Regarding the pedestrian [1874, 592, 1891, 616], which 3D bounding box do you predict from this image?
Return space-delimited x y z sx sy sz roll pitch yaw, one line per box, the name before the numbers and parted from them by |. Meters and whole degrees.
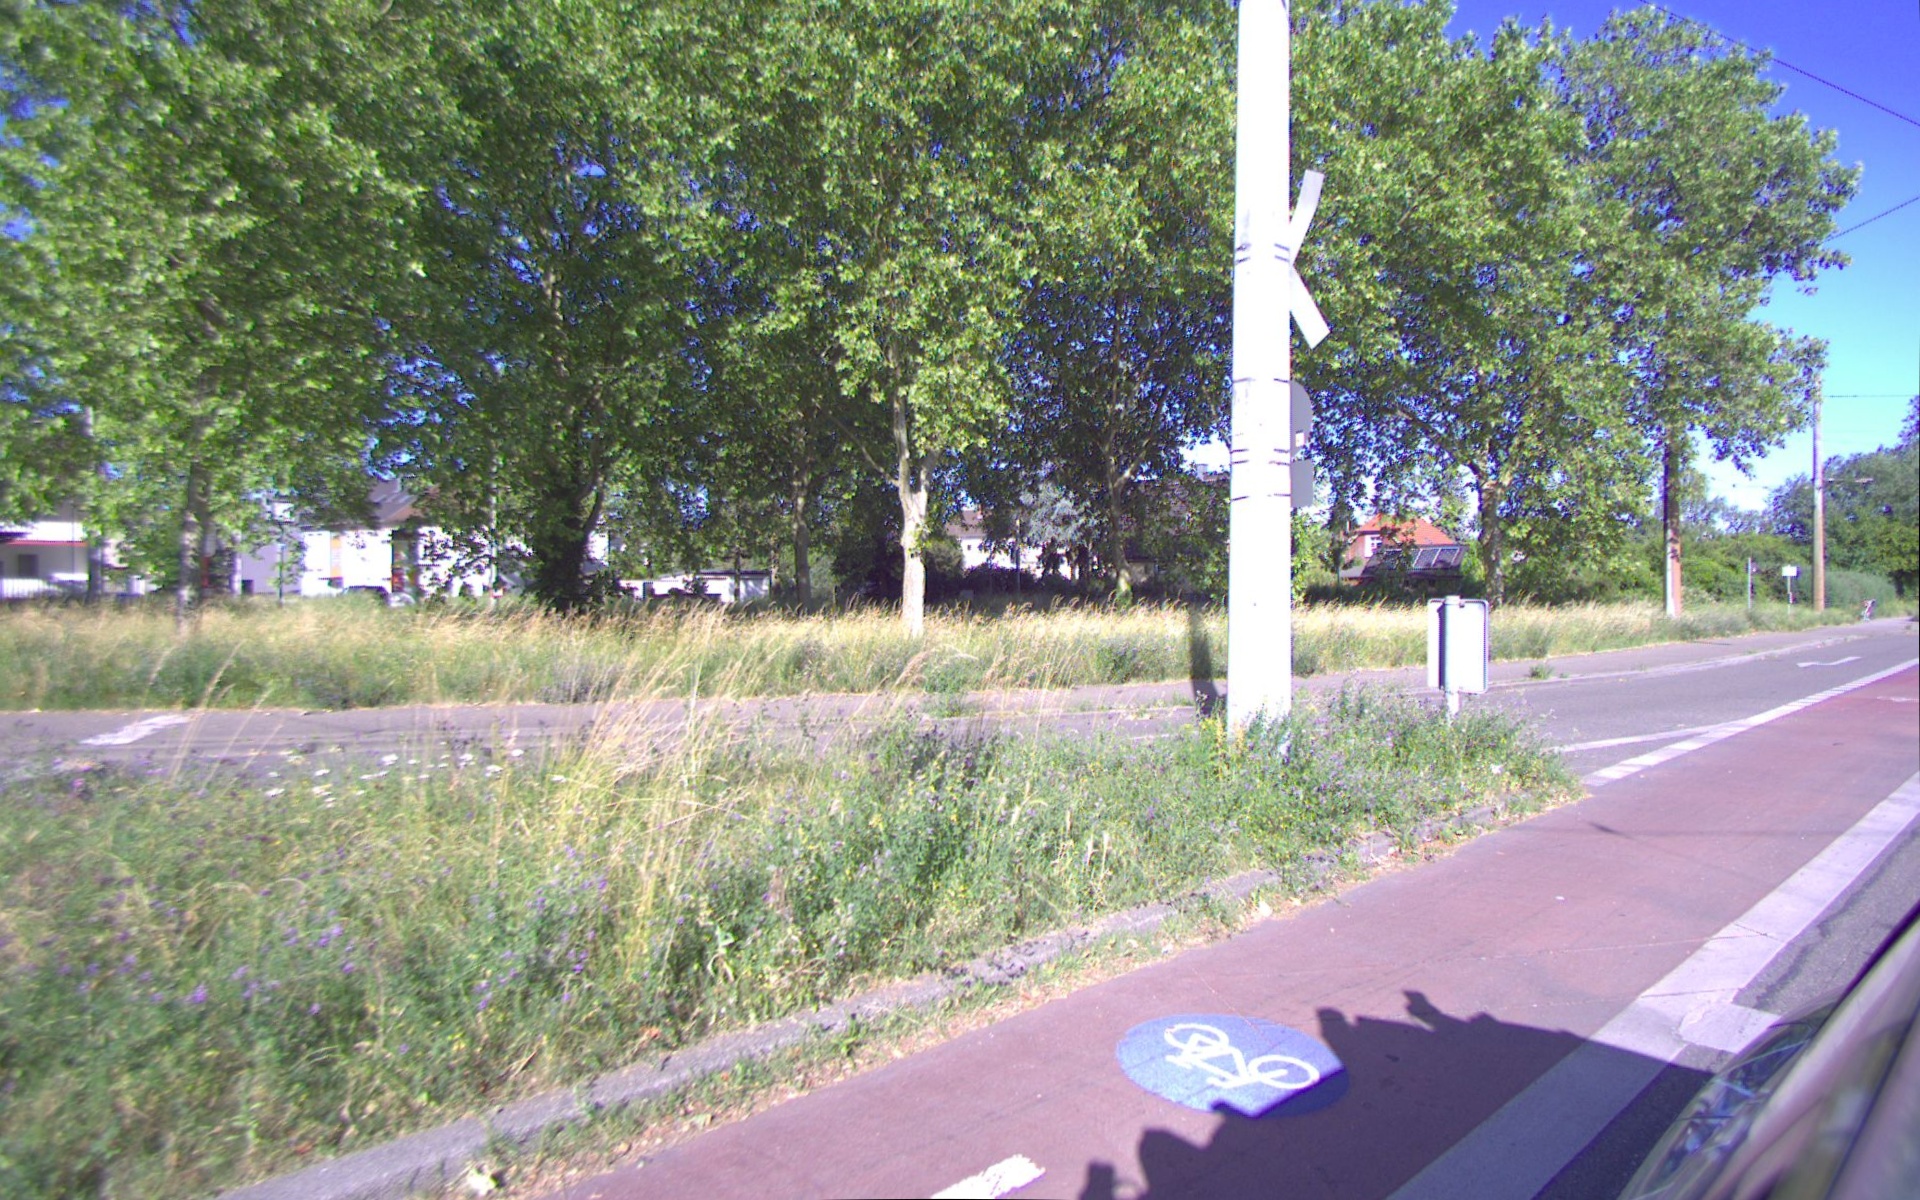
pedestrian | 40.493 0.158 44.433 0.446 1.046 0.482 0 0 -39
